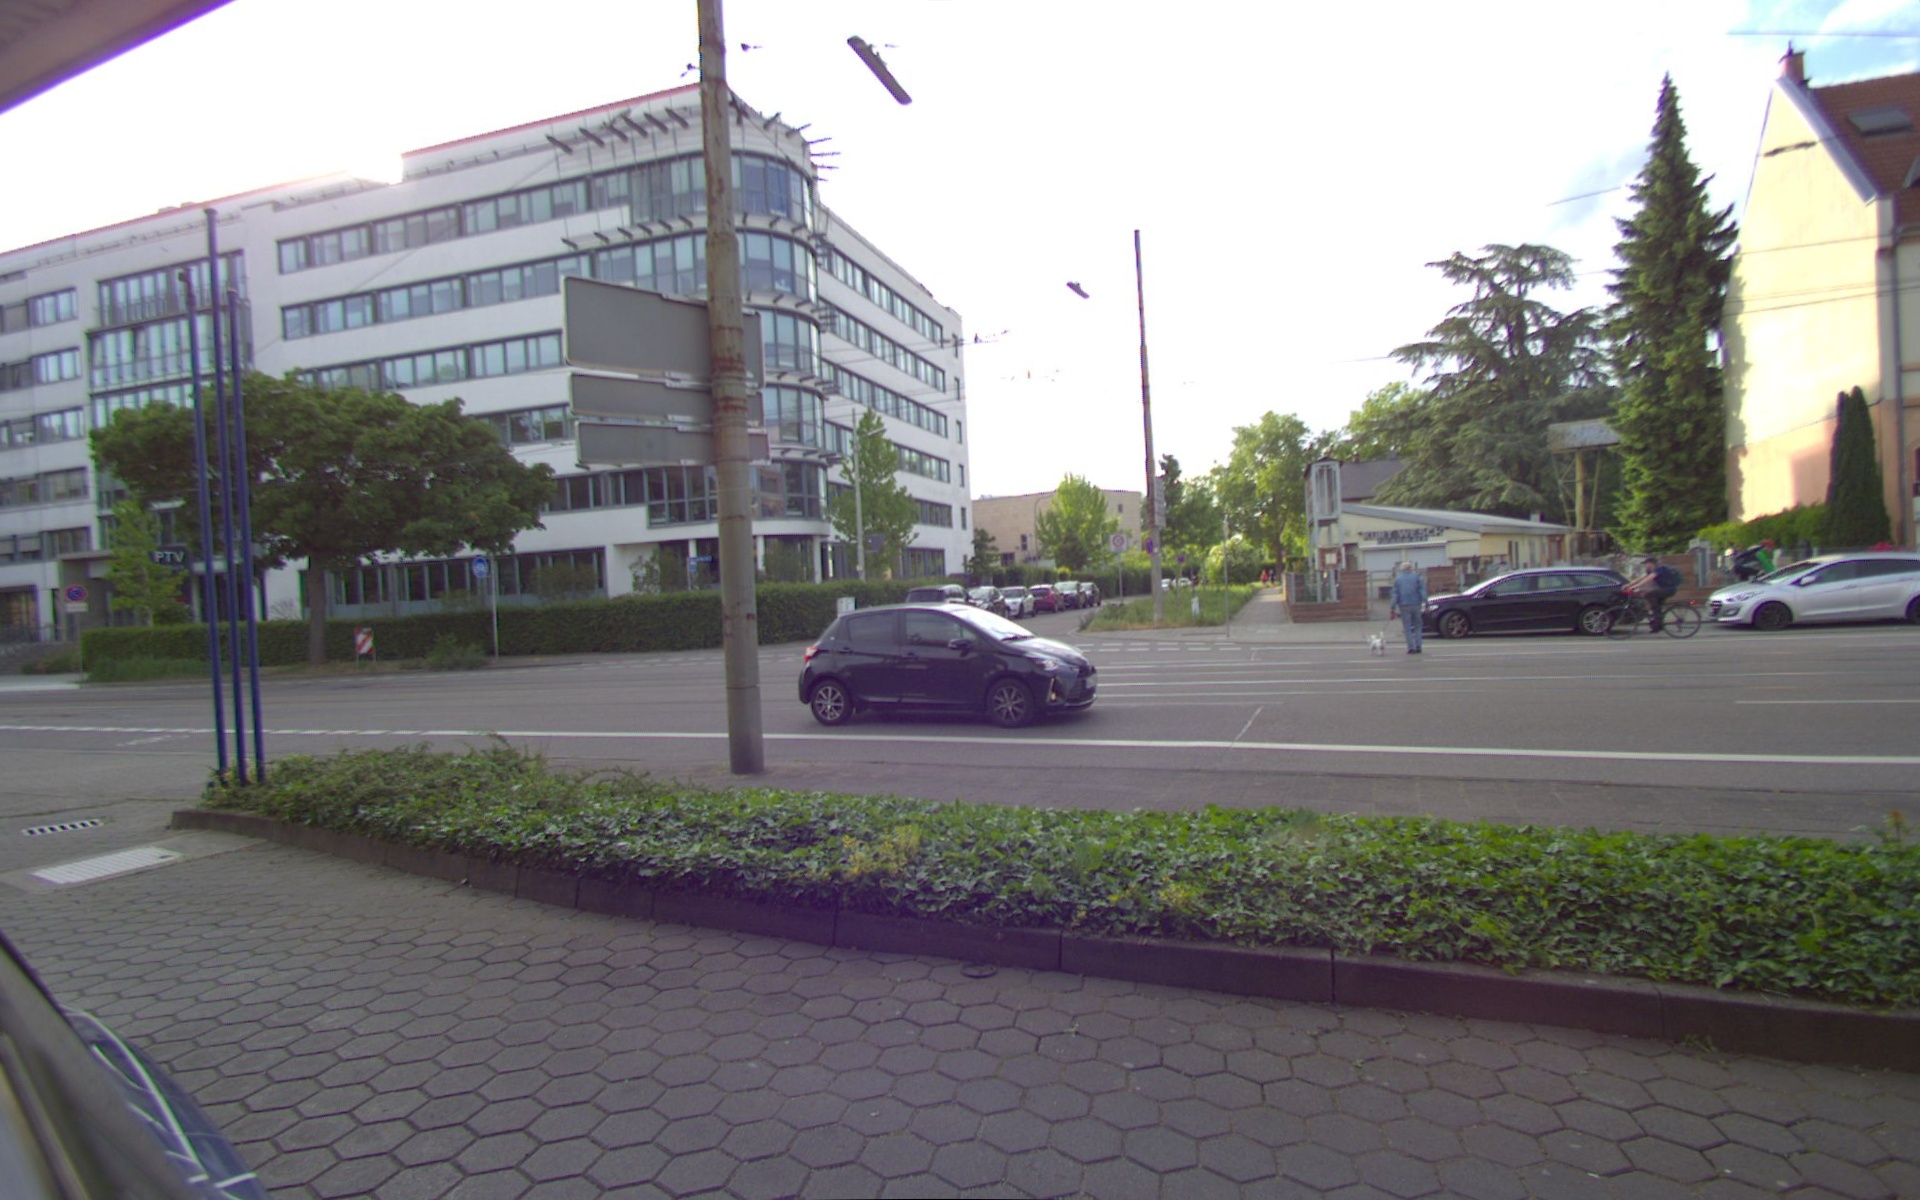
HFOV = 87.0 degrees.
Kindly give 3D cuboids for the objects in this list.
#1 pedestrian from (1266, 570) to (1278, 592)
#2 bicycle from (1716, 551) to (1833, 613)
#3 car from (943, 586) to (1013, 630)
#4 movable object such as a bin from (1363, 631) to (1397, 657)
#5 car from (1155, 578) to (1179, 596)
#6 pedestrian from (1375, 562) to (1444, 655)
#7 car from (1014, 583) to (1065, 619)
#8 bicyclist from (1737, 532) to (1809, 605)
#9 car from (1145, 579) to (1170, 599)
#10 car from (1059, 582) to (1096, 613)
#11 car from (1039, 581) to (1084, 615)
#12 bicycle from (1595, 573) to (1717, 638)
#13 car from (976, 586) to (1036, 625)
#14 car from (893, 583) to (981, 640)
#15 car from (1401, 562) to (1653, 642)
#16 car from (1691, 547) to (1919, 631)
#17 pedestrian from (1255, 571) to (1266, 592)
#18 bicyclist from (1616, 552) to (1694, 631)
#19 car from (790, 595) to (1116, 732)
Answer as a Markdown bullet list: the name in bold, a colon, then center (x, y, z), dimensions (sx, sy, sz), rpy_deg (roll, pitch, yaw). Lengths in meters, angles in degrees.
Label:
- **pedestrian**: center (27.855, -1.705, 90.284), dimensions (0.899, 1.865, 0.942), rpy_deg (-3, -1, 19)
- **bicycle**: center (18.921, -0.424, 23.563), dimensions (1.903, 1.320, 0.862), rpy_deg (-2, 3, 18)
- **car**: center (0.794, 0.277, 40.983), dimensions (1.929, 1.551, 4.274), rpy_deg (-3, 1, 13)
- **movable object such as a bin**: center (7.883, 0.821, 19.006), dimensions (0.476, 0.424, 0.676), rpy_deg (-3, 0, 16)
- **car**: center (21.689, -1.361, 106.169), dimensions (1.849, 1.748, 4.246), rpy_deg (-3, 1, 19)
- **pedestrian**: center (8.463, 0.162, 19.048), dimensions (1.001, 1.680, 0.960), rpy_deg (-3, 0, 33)
- **car**: center (4.175, 0.007, 52.500), dimensions (1.929, 1.650, 4.274), rpy_deg (-3, 1, 13)
- **bicyclist**: center (18.901, -0.737, 23.544), dimensions (1.020, 1.617, 0.862), rpy_deg (-2, 3, 17)
- **car**: center (19.698, -1.110, 100.799), dimensions (1.849, 1.748, 4.247), rpy_deg (-3, 1, 19)
- **car**: center (7.289, -0.178, 62.503), dimensions (1.731, 1.748, 4.030), rpy_deg (-3, 0, 13)
- **car**: center (5.835, -0.167, 57.728), dimensions (1.929, 1.748, 4.512), rpy_deg (-3, 1, 13)
- **bicycle**: center (14.364, 0.113, 20.933), dimensions (1.902, 1.231, 0.677), rpy_deg (-3, -1, 16)
- **car**: center (2.142, 0.200, 45.794), dimensions (1.929, 1.530, 4.274), rpy_deg (-3, 1, 13)
- **car**: center (-0.726, 0.348, 35.423), dimensions (1.994, 1.704, 4.274), rpy_deg (-3, 1, 13)
- **car**: center (12.911, 0.047, 23.450), dimensions (4.742, 1.511, 2.001), rpy_deg (-3, 1, 21)
- **car**: center (18.422, -0.251, 21.389), dimensions (4.424, 1.494, 1.713), rpy_deg (-3, 1, 21)
- **pedestrian**: center (26.899, -1.645, 90.591), dimensions (0.899, 1.865, 0.942), rpy_deg (-3, -1, 19)
- **bicyclist**: center (14.355, -0.167, 20.928), dimensions (1.075, 1.546, 0.677), rpy_deg (-3, -1, 16)
- **car**: center (-0.087, 0.803, 12.992), dimensions (3.787, 1.482, 1.677), rpy_deg (-3, 1, 23)
